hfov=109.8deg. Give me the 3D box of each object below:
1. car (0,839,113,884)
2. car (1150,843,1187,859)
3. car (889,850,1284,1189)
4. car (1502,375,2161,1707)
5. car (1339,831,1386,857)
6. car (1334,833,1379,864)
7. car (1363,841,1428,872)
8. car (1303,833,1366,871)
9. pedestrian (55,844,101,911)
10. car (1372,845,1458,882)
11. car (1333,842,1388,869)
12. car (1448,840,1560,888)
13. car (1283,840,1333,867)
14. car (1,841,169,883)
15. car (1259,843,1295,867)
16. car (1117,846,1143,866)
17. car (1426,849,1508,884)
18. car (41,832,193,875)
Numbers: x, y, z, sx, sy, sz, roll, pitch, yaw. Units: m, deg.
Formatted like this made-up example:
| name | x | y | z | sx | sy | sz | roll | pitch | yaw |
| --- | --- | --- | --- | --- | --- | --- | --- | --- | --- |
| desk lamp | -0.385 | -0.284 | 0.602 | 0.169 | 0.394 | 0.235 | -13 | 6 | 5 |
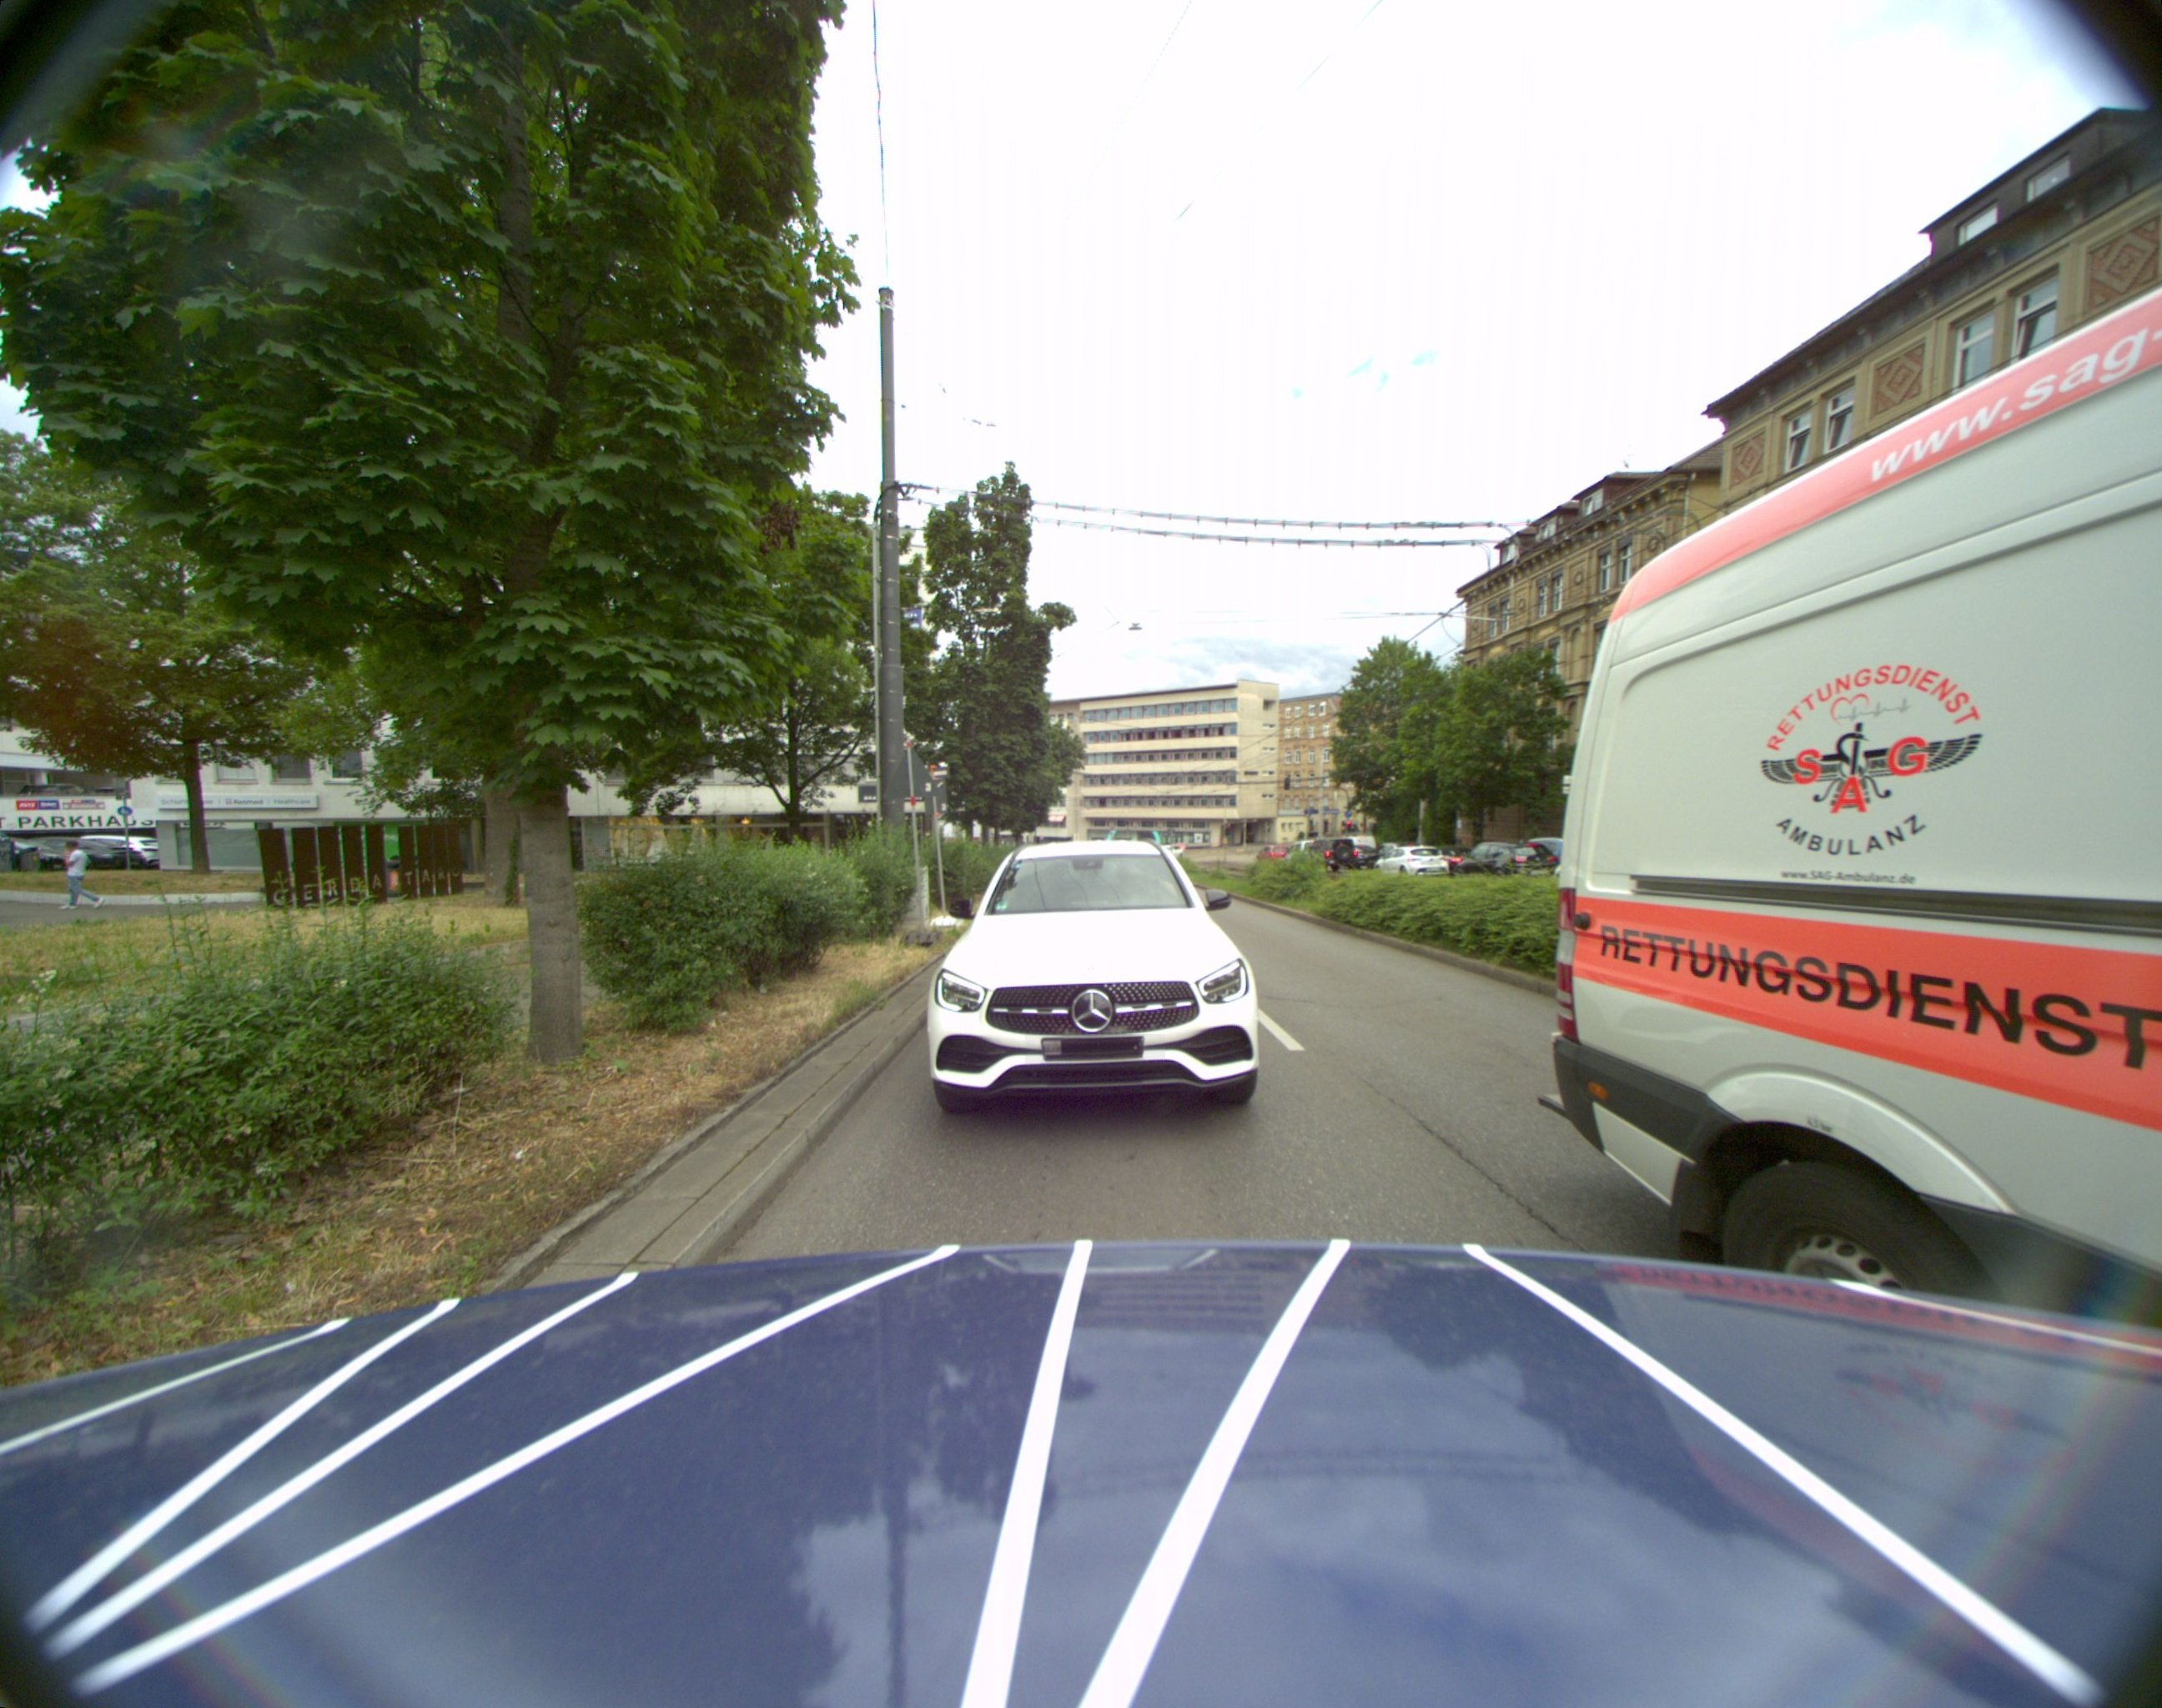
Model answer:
| name | x | y | z | sx | sy | sz | roll | pitch | yaw |
| --- | --- | --- | --- | --- | --- | --- | --- | --- | --- |
| car | -41.032 | 0.272 | 29.427 | 4.000 | 1.707 | 1.998 | 0 | 1 | -10 |
| car | 8.635 | -0.308 | 74.864 | 1.994 | 1.543 | 4.326 | 0 | 1 | 32 |
| car | -0.001 | 0.791 | 5.937 | 1.894 | 1.610 | 4.477 | -1 | 0 | -1 |
| car | 2.674 | 0.599 | 0.145 | 2.038 | 2.684 | 5.854 | -1 | 1 | 1 |
| car | 21.073 | -0.774 | 57.090 | 1.848 | 1.904 | 3.998 | 0 | 1 | -3 |
| car | 19.287 | -0.368 | 53.410 | 1.794 | 2.109 | 3.916 | 0 | 1 | 1 |
| car | 16.669 | 0.094 | 40.471 | 1.759 | 1.560 | 3.999 | 0 | 1 | -1 |
| car | 14.147 | -0.123 | 42.715 | 2.147 | 2.002 | 4.748 | 0 | 1 | 3 |
| pedestrian | -23.098 | 0.523 | 17.495 | 0.672 | 1.524 | 0.529 | 1 | 1 | 30 |
| car | 14.342 | 0.354 | 32.879 | 1.899 | 1.487 | 3.999 | 0 | 1 | -1 |
| car | 16.657 | 0.054 | 45.476 | 1.888 | 1.502 | 3.999 | 0 | 1 | 1 |
| car | 14.235 | 0.288 | 25.818 | 1.759 | 1.521 | 3.759 | 0 | 1 | 1 |
| car | 14.165 | -0.050 | 47.704 | 1.998 | 1.575 | 3.999 | 0 | 1 | 1 |
| car | -42.112 | 0.326 | 32.247 | 4.000 | 1.707 | 1.998 | 0 | 1 | -10 |
| car | 13.936 | 0.063 | 54.195 | 1.681 | 1.620 | 3.844 | 0 | 1 | 1 |
| car | 4.095 | 0.114 | 63.925 | 1.930 | 1.563 | 4.181 | -2 | 0 | 2 |
| car | 16.859 | 0.510 | 33.375 | 1.726 | 1.443 | 3.747 | 0 | 1 | 1 |
| car | -43.286 | -0.028 | 34.210 | 4.001 | 1.677 | 1.687 | -3 | 1 | -12 |
